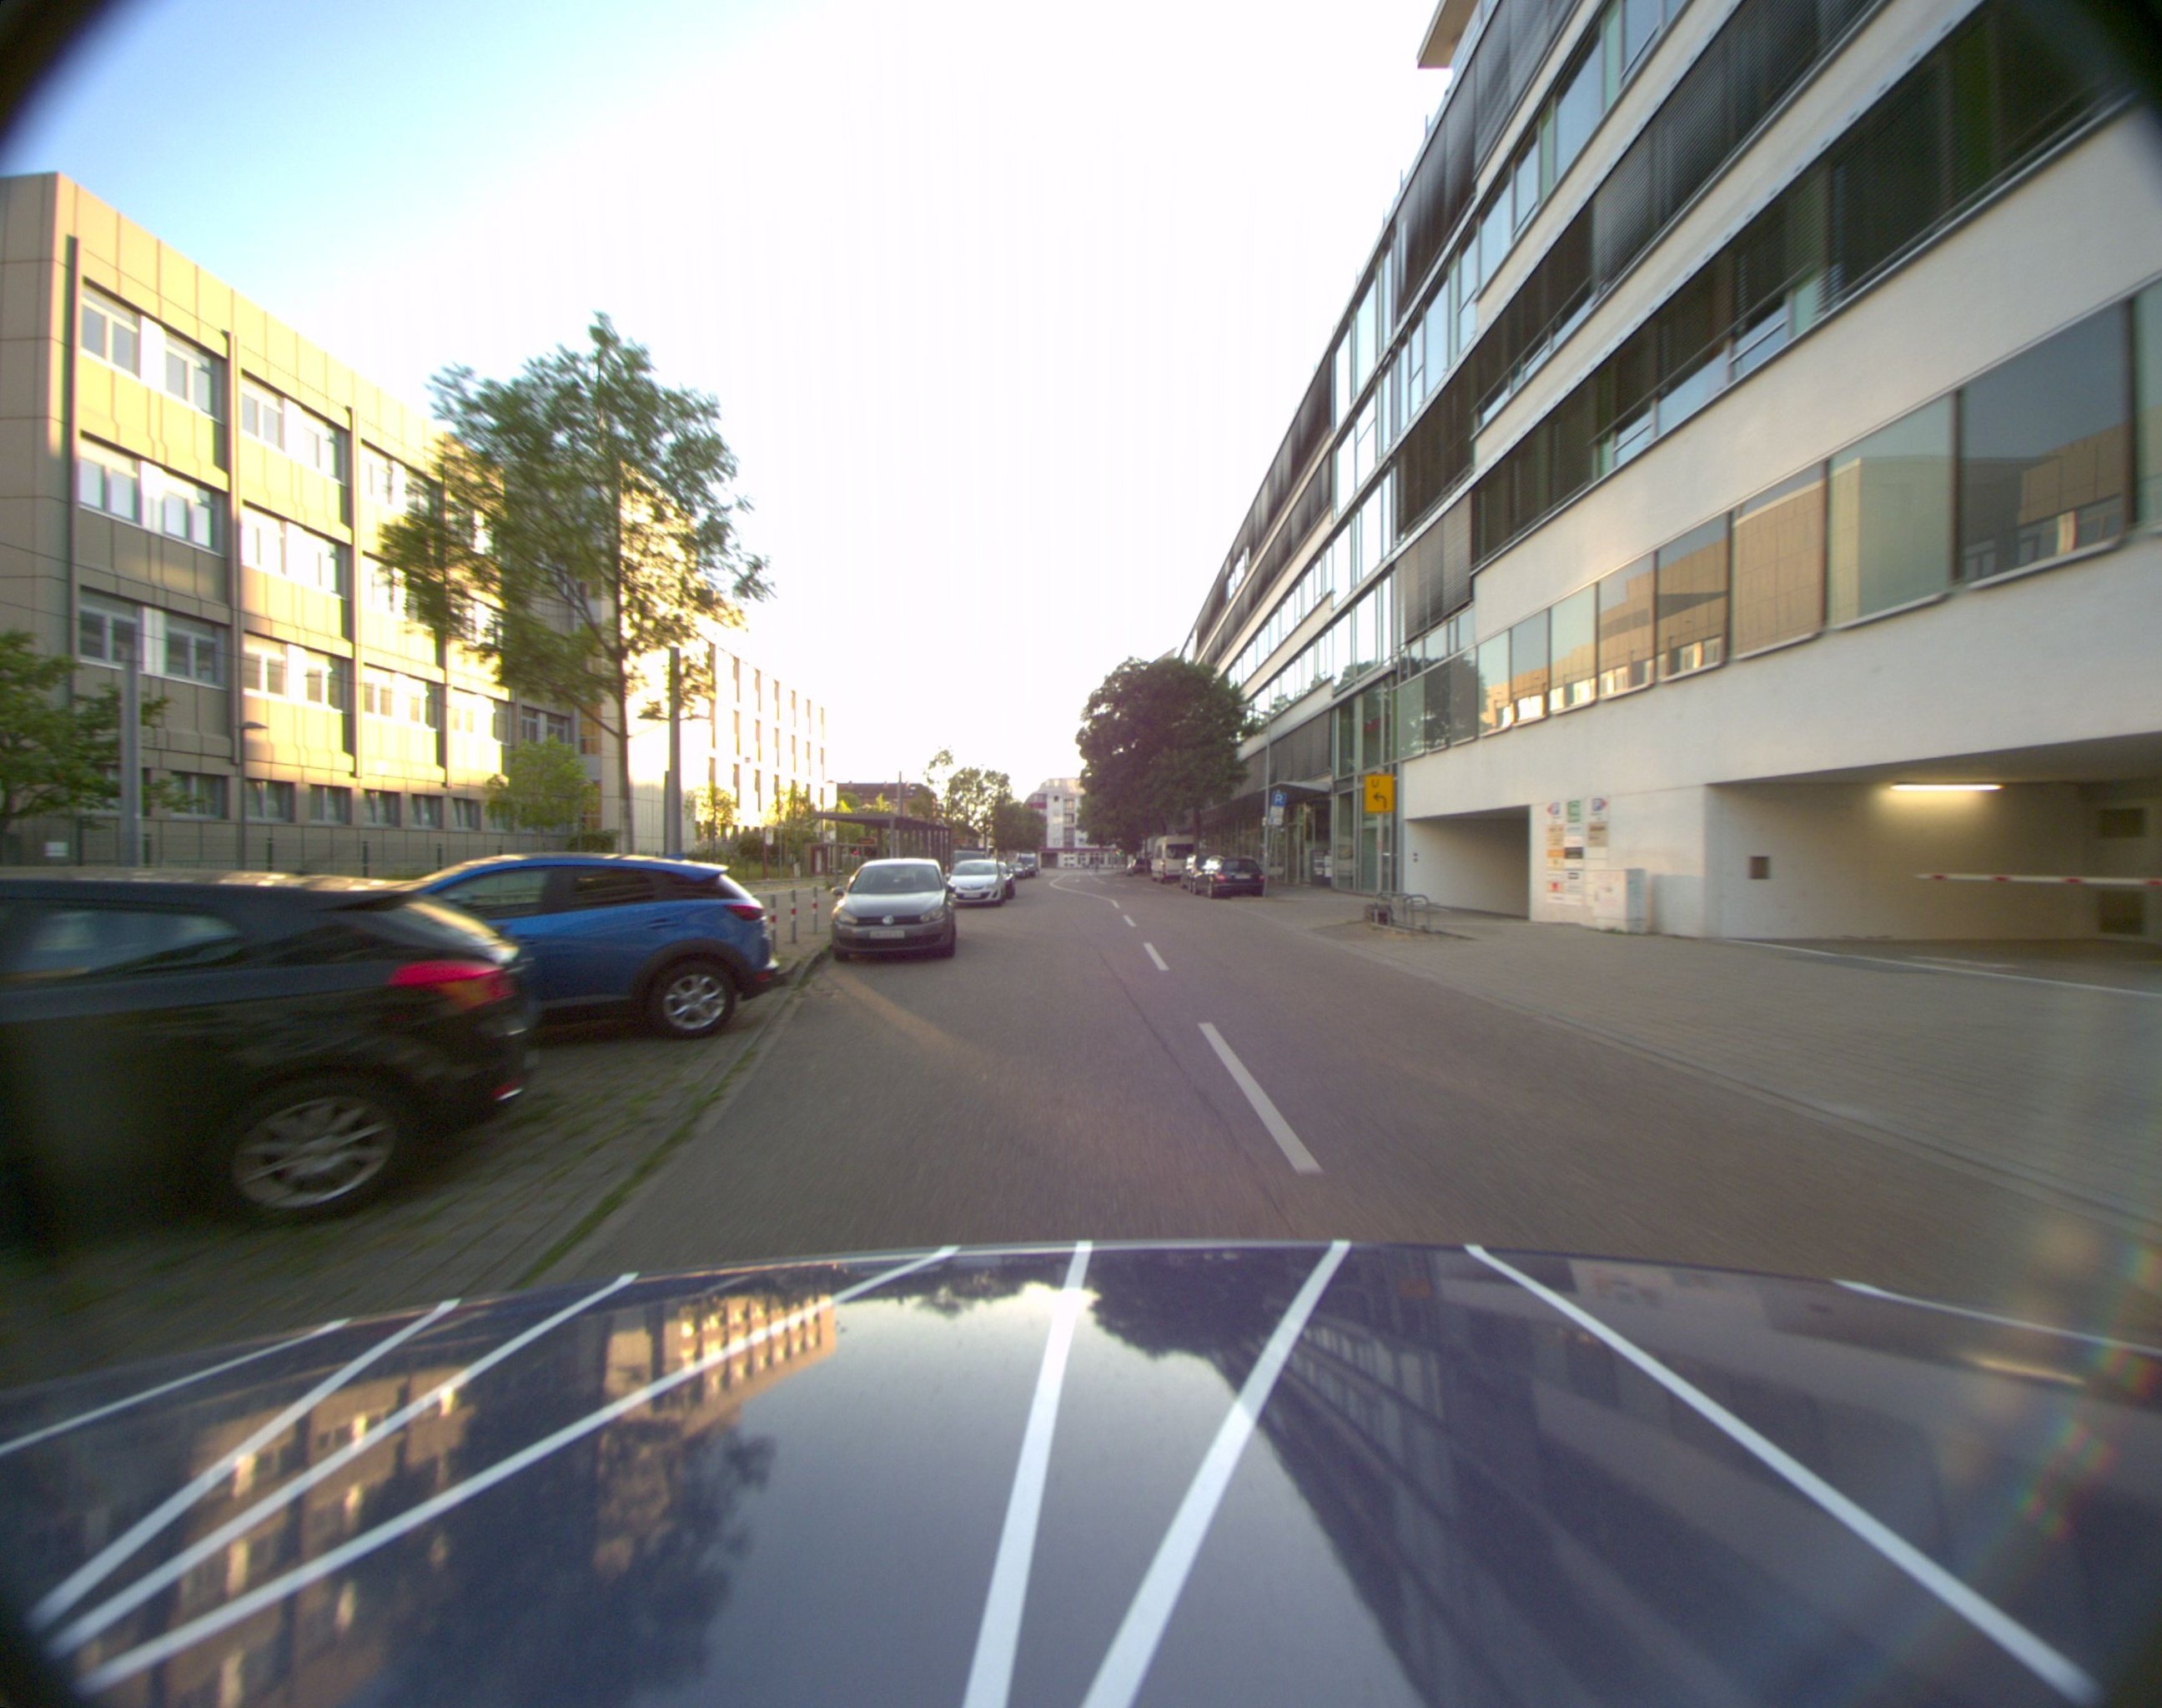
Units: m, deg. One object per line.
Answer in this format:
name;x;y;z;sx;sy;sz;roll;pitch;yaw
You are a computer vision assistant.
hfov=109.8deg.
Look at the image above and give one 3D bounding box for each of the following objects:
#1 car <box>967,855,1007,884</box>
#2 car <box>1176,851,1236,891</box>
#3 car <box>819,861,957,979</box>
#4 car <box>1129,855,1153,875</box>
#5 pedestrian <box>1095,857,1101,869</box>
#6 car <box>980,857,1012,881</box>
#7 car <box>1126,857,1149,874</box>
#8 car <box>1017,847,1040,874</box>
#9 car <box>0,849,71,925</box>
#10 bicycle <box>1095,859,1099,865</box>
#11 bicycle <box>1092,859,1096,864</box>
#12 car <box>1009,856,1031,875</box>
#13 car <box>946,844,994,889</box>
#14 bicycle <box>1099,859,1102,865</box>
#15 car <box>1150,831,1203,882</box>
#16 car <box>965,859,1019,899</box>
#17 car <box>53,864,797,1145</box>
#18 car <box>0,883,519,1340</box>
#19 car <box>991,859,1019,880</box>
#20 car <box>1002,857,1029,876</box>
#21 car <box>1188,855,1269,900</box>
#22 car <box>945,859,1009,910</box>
car;-5.582;0.894;45.719;1.711;1.571;4.479;2;0;1
car;5.255;0.689;32.347;1.849;1.562;4.267;0;0;0
car;-2.939;0.902;12.314;1.737;1.457;3.996;-2;1;-9
car;5.138;0.919;65.556;1.594;1.559;4.471;-3;0;0
pedestrian;2.384;1.202;105.161;0.545;1.691;0.709;0;0;27
car;-5.788;1.009;52.110;1.712;1.484;4.130;2;0;-1
car;5.236;1.015;70.665;1.707;1.453;4.627;-3;0;0
car;-5.409;0.631;79.197;2.056;2.641;5.433;3;0;-1
car;-23.686;0.617;15.479;3.997;1.478;1.675;2;0;1
bicycle;3.061;1.501;145.325;0.515;1.040;1.902;0;0;-3
bicycle;2.484;1.477;145.352;0.515;1.040;1.902;0;0;-3
car;-5.599;1.036;70.021;1.712;1.633;4.266;2;0;-1
car;-5.745;0.615;39.760;1.809;2.164;4.735;2;0;-1
bicycle;3.744;1.500;145.095;0.515;1.040;1.902;0;0;-3
car;5.299;0.162;43.139;2.106;2.648;6.951;0;0;0
car;-3.425;0.929;29.878;1.792;1.443;4.514;0;0;-3
car;-4.641;0.869;6.186;4.008;1.512;1.922;0;1;-35
car;-4.685;0.919;2.907;4.007;1.456;1.732;0;0;-35
car;-5.762;1.134;57.844;1.712;1.443;4.000;2;0;-1
car;-5.588;1.060;65.320;1.800;1.487;4.781;3;0;1
car;5.136;0.787;27.039;1.720;1.443;4.397;0;0;-4
car;-3.275;0.919;24.604;1.680;1.443;4.186;0;0;-3
